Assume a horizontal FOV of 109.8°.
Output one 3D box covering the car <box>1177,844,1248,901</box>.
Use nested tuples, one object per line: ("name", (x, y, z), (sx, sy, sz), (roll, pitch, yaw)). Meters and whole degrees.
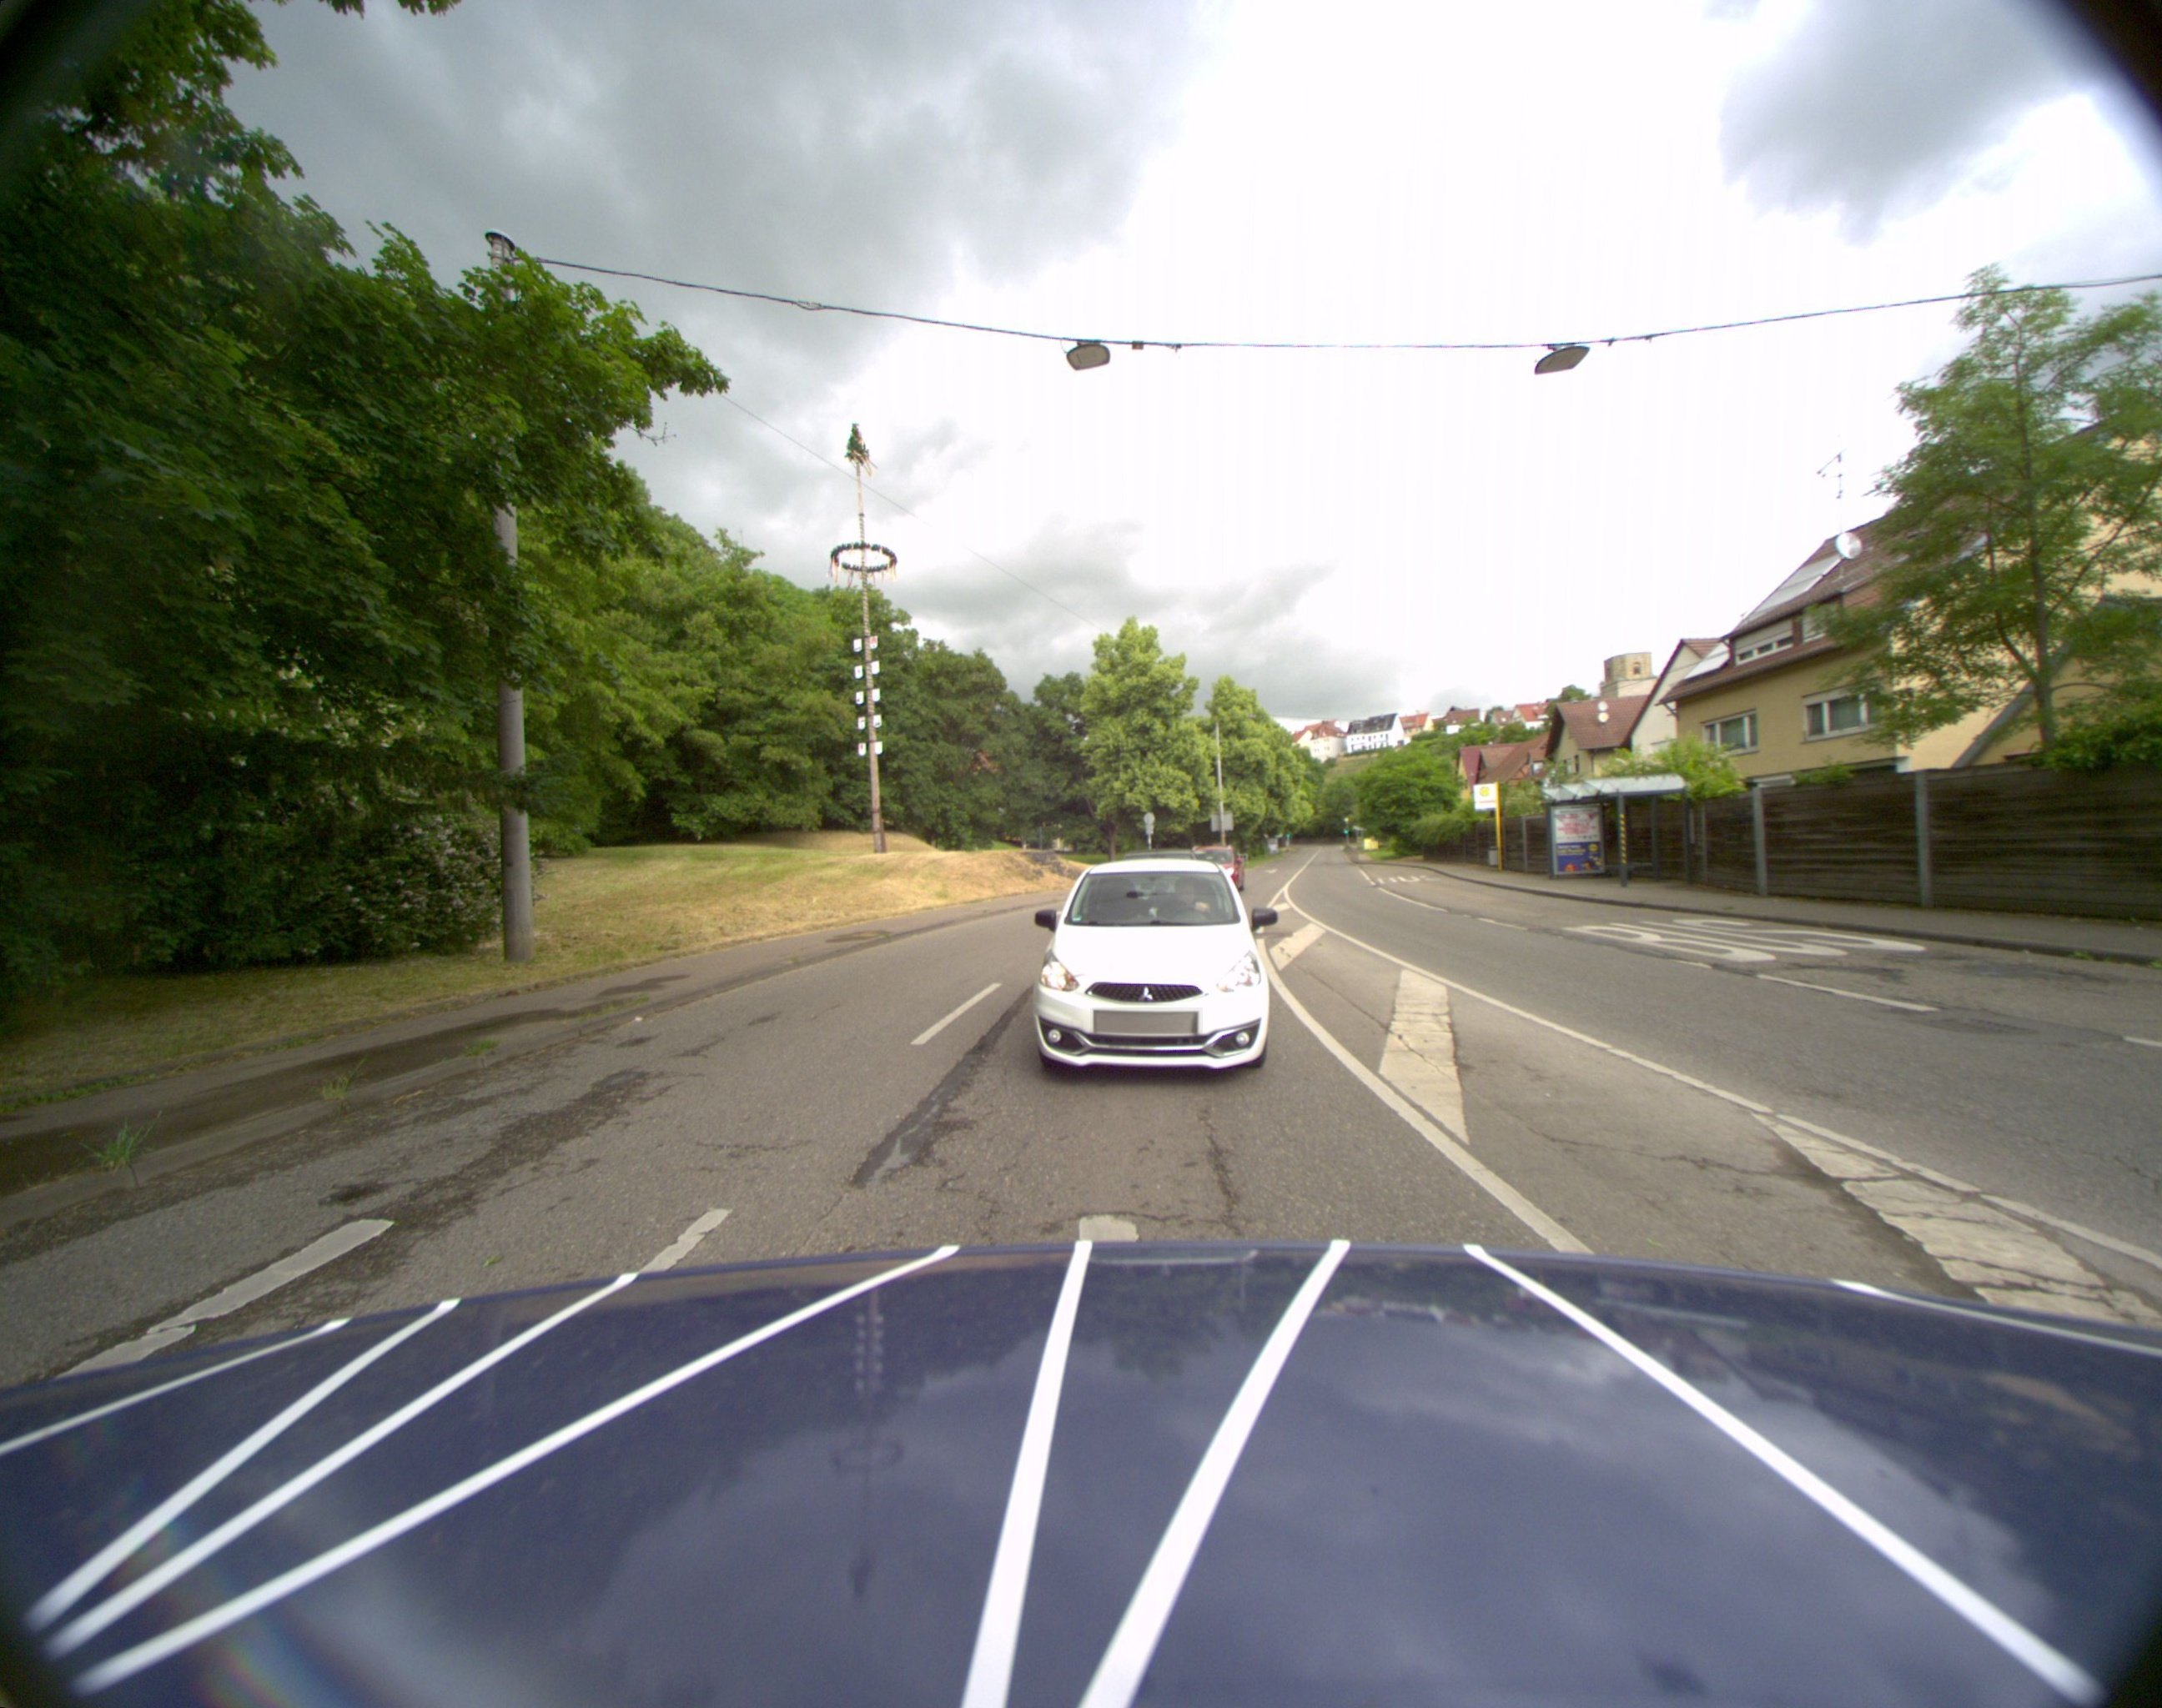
("car", (4.475, 0.544, 25.361), (1.826, 1.662, 4.062), (-2, 1, 16))

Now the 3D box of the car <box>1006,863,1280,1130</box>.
("car", (0.637, 0.904, 6.432), (1.617, 1.505, 3.607), (-2, 1, 9))

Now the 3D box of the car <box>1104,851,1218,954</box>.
("car", (1.597, 0.768, 13.928), (1.723, 1.539, 3.784), (-2, 1, 11))
